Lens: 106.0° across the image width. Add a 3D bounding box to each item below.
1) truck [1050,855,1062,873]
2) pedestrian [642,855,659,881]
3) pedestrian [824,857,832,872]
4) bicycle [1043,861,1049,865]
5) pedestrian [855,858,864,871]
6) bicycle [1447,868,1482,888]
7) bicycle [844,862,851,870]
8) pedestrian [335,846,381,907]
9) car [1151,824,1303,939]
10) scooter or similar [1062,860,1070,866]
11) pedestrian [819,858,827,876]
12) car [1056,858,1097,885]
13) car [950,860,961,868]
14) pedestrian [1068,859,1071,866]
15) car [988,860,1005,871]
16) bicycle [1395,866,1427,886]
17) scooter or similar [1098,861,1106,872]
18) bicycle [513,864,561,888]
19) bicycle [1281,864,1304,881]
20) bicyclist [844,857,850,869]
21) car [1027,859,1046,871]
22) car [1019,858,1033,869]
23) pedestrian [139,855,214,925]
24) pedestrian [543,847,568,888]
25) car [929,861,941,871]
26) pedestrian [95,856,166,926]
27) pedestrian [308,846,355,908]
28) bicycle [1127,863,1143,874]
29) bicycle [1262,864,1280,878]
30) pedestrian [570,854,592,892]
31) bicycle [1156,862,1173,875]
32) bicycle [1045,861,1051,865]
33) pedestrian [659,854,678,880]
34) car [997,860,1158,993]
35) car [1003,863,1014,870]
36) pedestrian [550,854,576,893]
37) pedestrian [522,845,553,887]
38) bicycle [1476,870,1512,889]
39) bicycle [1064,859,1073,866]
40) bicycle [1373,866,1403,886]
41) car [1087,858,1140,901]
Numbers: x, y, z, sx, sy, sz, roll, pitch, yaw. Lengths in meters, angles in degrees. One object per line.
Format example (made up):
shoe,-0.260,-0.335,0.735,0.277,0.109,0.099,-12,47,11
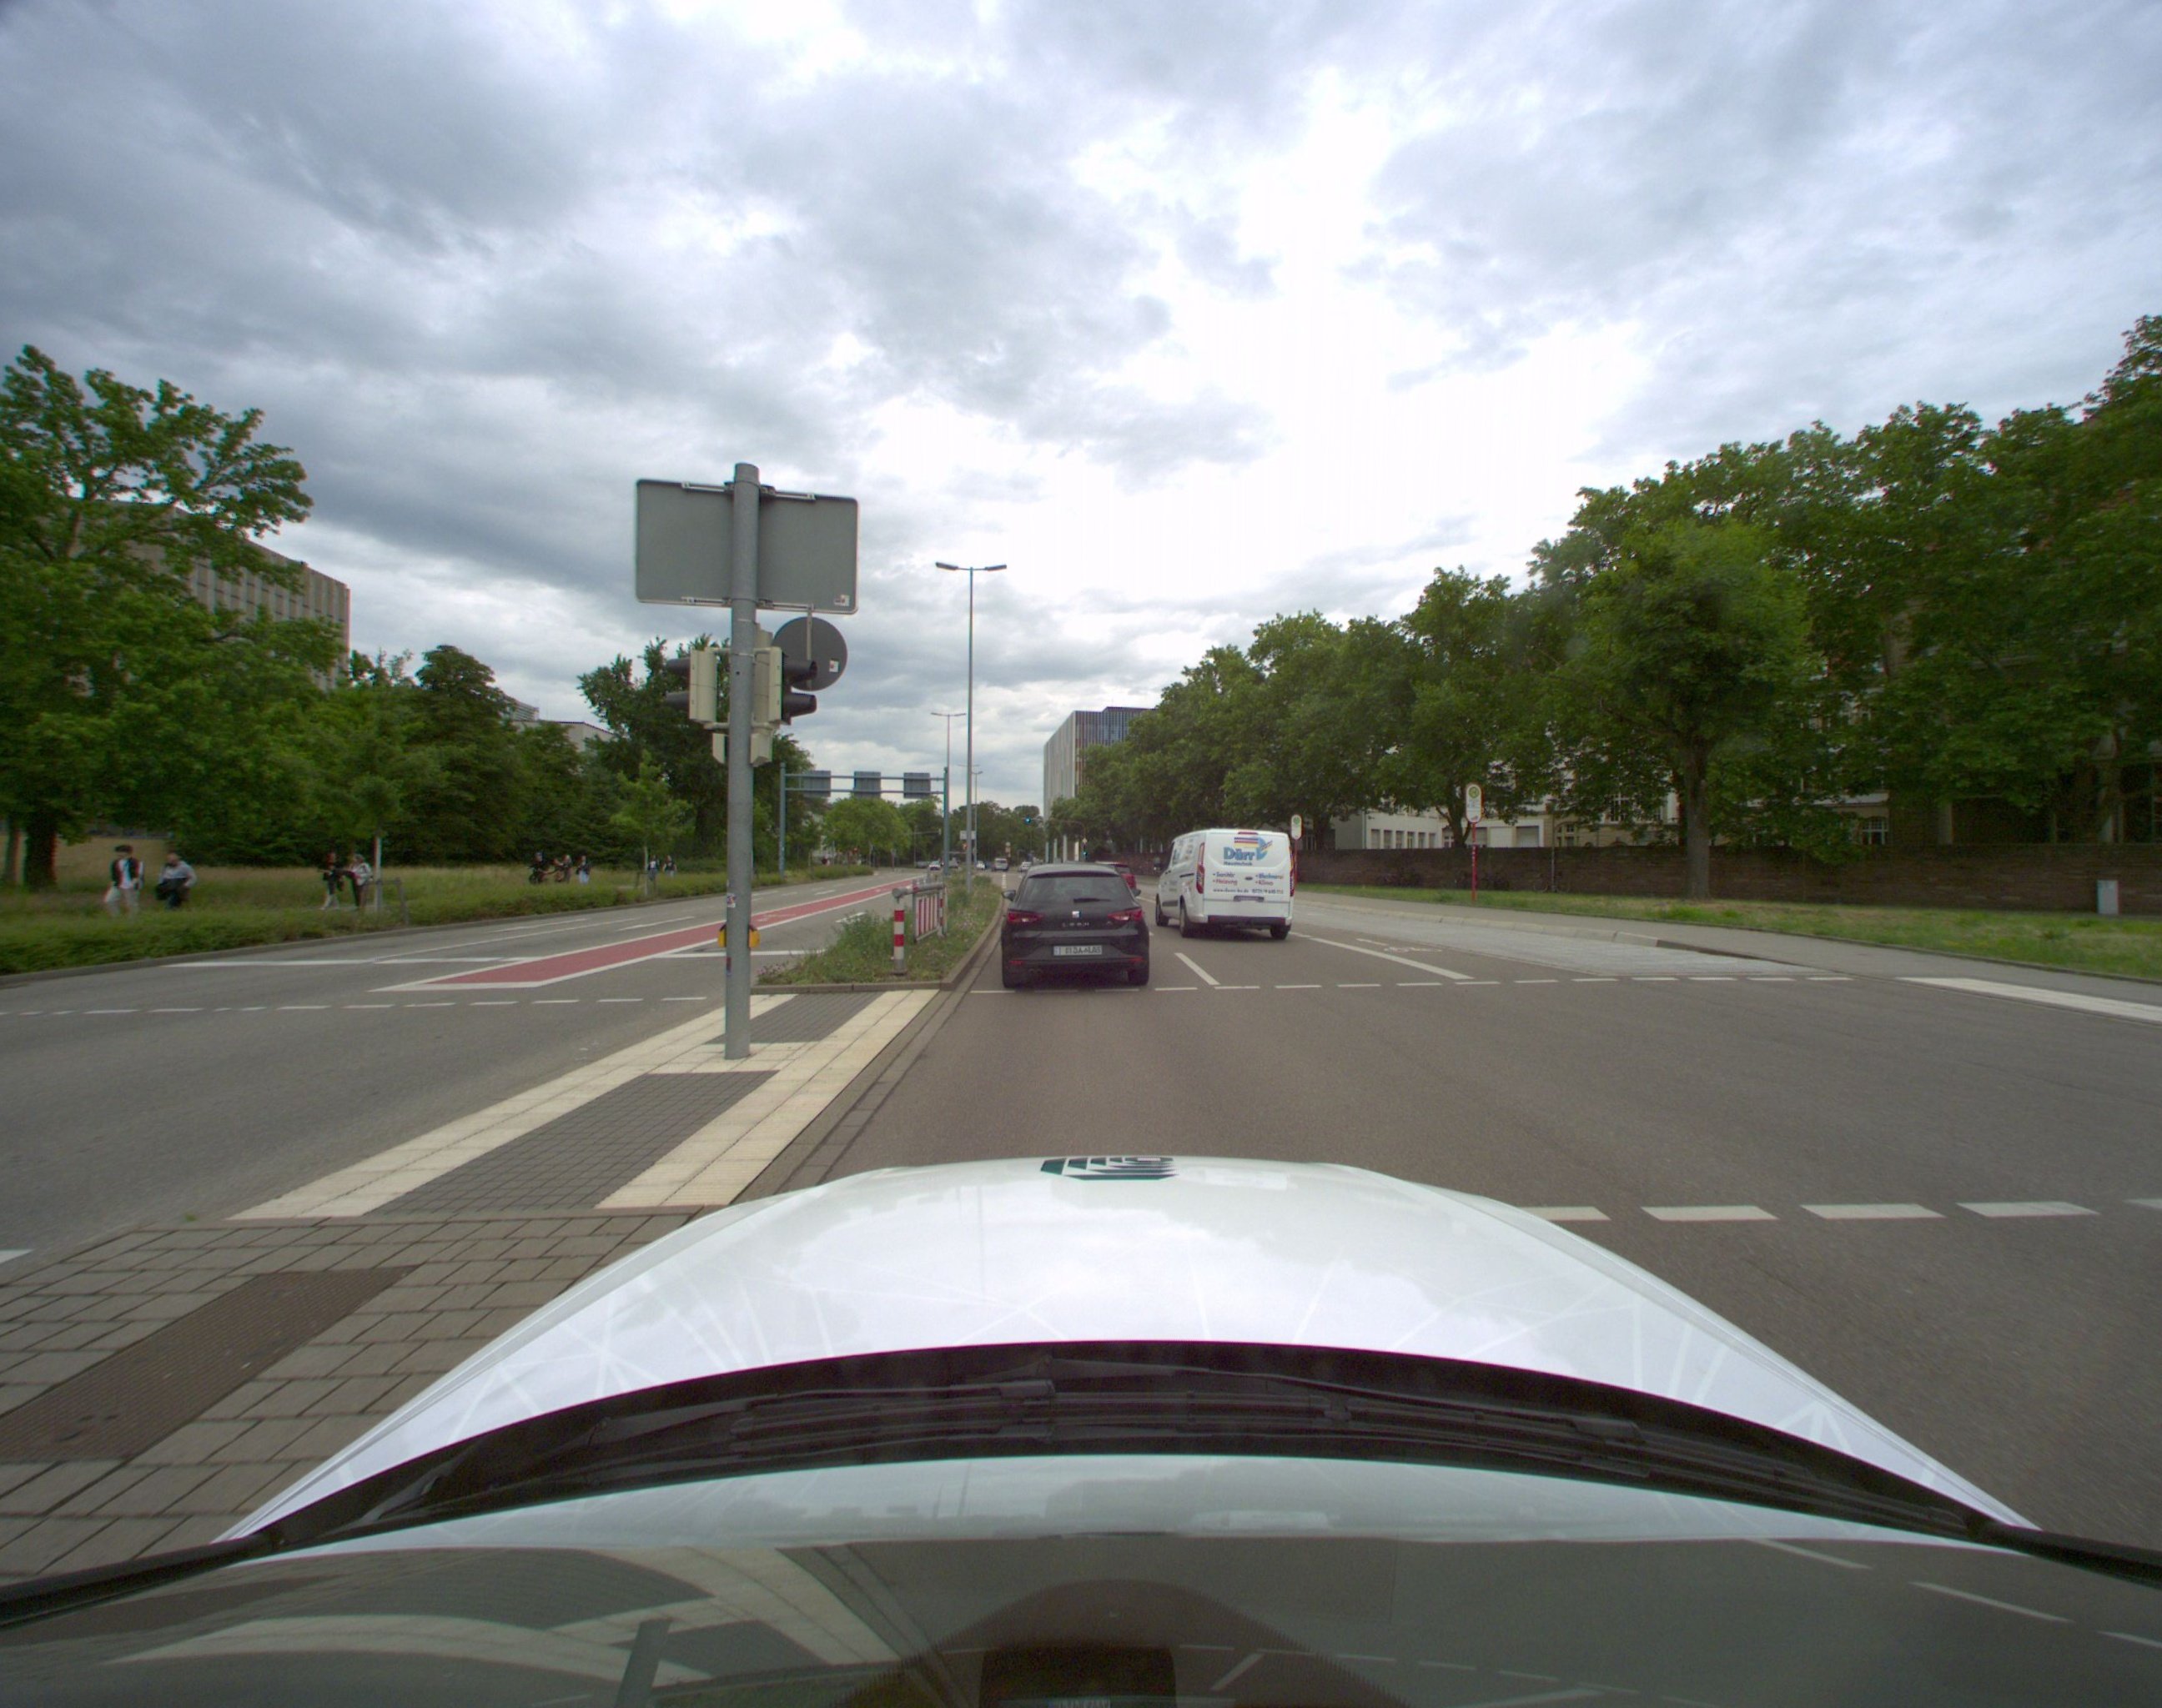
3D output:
truck,-3.246,1.316,105.644,1.316,2.243,3.394,-1,0,-6
pedestrian,-22.859,0.740,43.253,0.646,1.362,0.677,-1,0,-14
pedestrian,-27.466,1.106,88.274,0.699,1.636,0.670,-1,0,-6
bicycle,-7.924,2.015,186.587,1.265,0.848,0.478,4,-2,-28
pedestrian,-30.169,1.488,111.049,0.847,1.740,0.820,3,-6,-45
bicycle,20.917,1.312,44.464,0.598,1.059,1.696,-1,0,-32
bicycle,-32.257,1.672,112.310,0.669,1.062,1.606,2,-2,-24
pedestrian,-20.483,0.629,23.090,0.620,1.695,0.746,-1,0,-3
car,2.713,0.525,16.191,1.963,1.972,4.336,1,-1,-4
scooter or similar,-2.859,1.759,156.683,1.684,1.106,0.493,-1,0,-38
pedestrian,-26.389,1.330,83.270,0.619,1.729,0.816,-1,0,-6
car,-0.345,1.109,53.887,1.916,1.664,4.096,-1,0,-13
car,-23.152,1.860,150.509,1.764,1.460,4.773,-2,-1,-11
pedestrian,-2.084,1.541,147.142,0.470,1.361,0.446,-1,0,4
car,-12.115,1.609,116.476,1.699,1.504,3.987,-1,0,-16
bicycle,19.183,1.289,47.380,0.598,1.129,1.696,-1,0,-32
scooter or similar,2.470,1.441,95.078,0.428,1.179,1.712,-2,0,19
bicycle,-21.578,0.880,32.351,0.658,0.888,1.716,-1,0,3
bicycle,14.564,1.243,56.043,0.599,1.104,1.641,-1,0,-26
bicyclist,-32.208,1.180,112.242,0.669,1.635,0.954,2,-2,-24
car,-5.622,1.369,102.383,1.898,1.354,3.870,-1,0,-9
car,-7.717,1.324,114.664,1.615,1.354,3.987,-1,0,-9
pedestrian,-19.869,0.781,17.906,0.727,1.480,0.812,-1,0,-3
pedestrian,-20.913,0.520,32.422,0.572,1.609,0.617,-1,0,3
car,-23.217,1.911,129.741,1.605,1.381,3.801,-1,0,-6
pedestrian,-20.719,0.796,17.764,0.634,1.480,0.761,-1,0,-3
pedestrian,-21.136,0.647,22.979,0.577,1.712,0.761,-1,0,-3
bicycle,5.445,1.468,82.419,0.943,1.073,1.956,-1,0,-21
bicycle,13.582,1.211,58.317,0.417,0.942,1.513,-1,0,-23
pedestrian,-22.063,0.837,35.945,0.586,1.660,0.717,-1,0,-12
bicycle,7.708,1.340,75.323,0.851,1.127,1.910,-1,0,-21
bicycle,-7.401,1.974,184.852,1.241,0.823,0.478,3,-2,-28
pedestrian,-21.883,0.681,43.203,0.644,1.358,0.709,-1,0,-8
car,-0.090,0.811,10.754,1.748,1.432,3.766,0,-1,-2
car,-12.073,2.083,135.639,1.505,1.194,3.153,-1,0,-9
pedestrian,-22.746,0.862,35.755,0.707,1.672,0.764,-1,0,-12
pedestrian,-21.585,0.483,32.352,0.658,1.632,0.764,-1,0,3
bicycle,21.794,1.331,42.995,0.553,0.992,1.620,-1,0,-35
bicycle,-2.395,1.636,156.155,1.787,1.211,0.563,-1,0,-40
bicycle,18.428,1.301,48.934,0.598,1.136,1.696,-1,0,-32
car,1.319,1.016,34.399,1.944,1.624,3.747,2,0,-1
